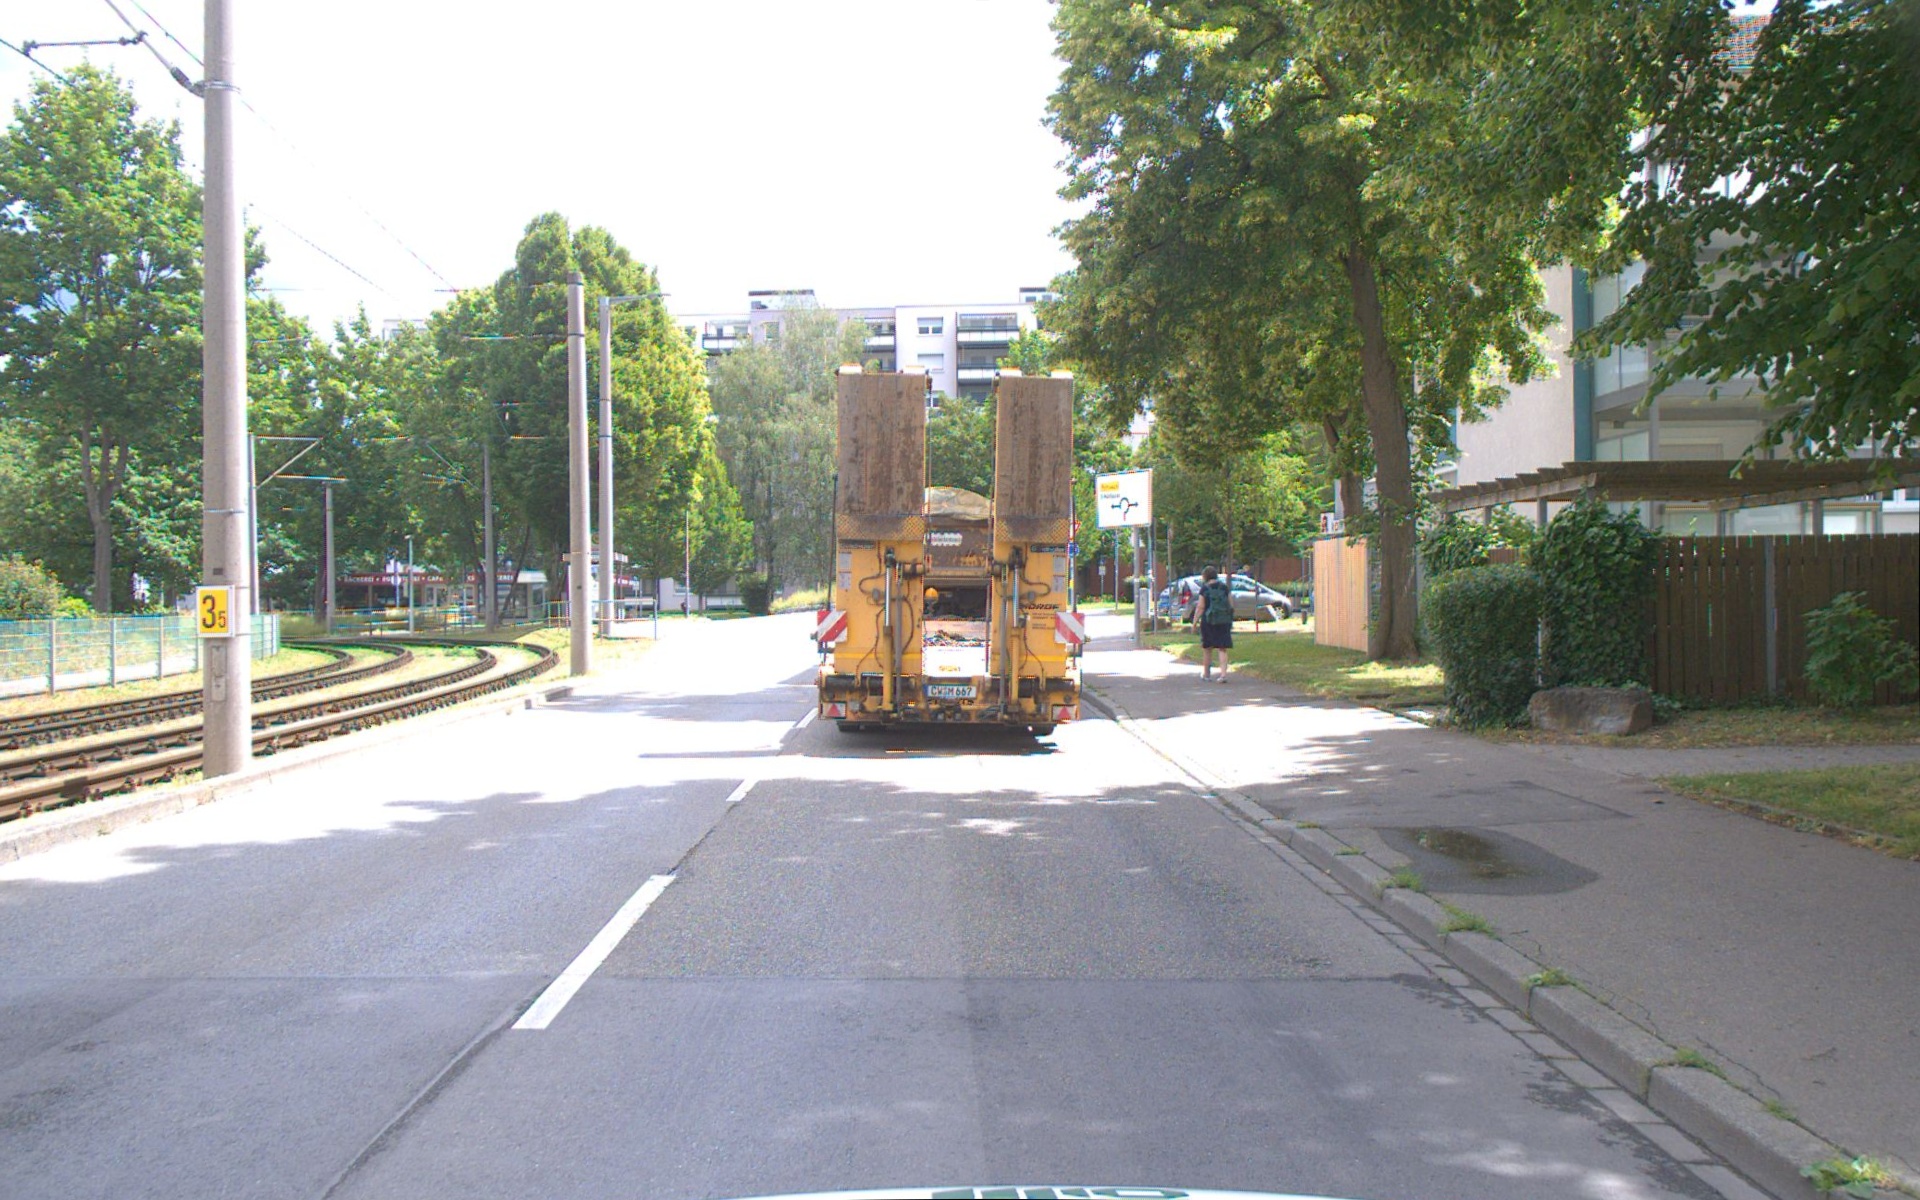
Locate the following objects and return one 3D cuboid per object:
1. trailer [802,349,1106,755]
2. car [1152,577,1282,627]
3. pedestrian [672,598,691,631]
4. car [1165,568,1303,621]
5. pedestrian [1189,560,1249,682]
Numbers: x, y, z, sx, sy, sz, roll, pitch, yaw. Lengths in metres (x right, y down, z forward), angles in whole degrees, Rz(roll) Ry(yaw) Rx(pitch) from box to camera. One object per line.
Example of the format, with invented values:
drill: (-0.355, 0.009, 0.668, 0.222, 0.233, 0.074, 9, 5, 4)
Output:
trailer: (-0.403, -0.475, 21.439, 2.771, 3.709, 12.346, 1, 0, -3)
car: (8.569, 0.061, 55.274, 3.918, 1.588, 1.754, 1, 0, -13)
pedestrian: (-17.468, 0.914, 103.722, 0.898, 2.049, 0.952, 1, 0, -32)
car: (8.565, -0.175, 51.791, 3.918, 1.588, 1.754, 1, 0, -13)
pedestrian: (3.787, 0.297, 24.213, 0.703, 1.736, 0.766, -2, 1, -1)
